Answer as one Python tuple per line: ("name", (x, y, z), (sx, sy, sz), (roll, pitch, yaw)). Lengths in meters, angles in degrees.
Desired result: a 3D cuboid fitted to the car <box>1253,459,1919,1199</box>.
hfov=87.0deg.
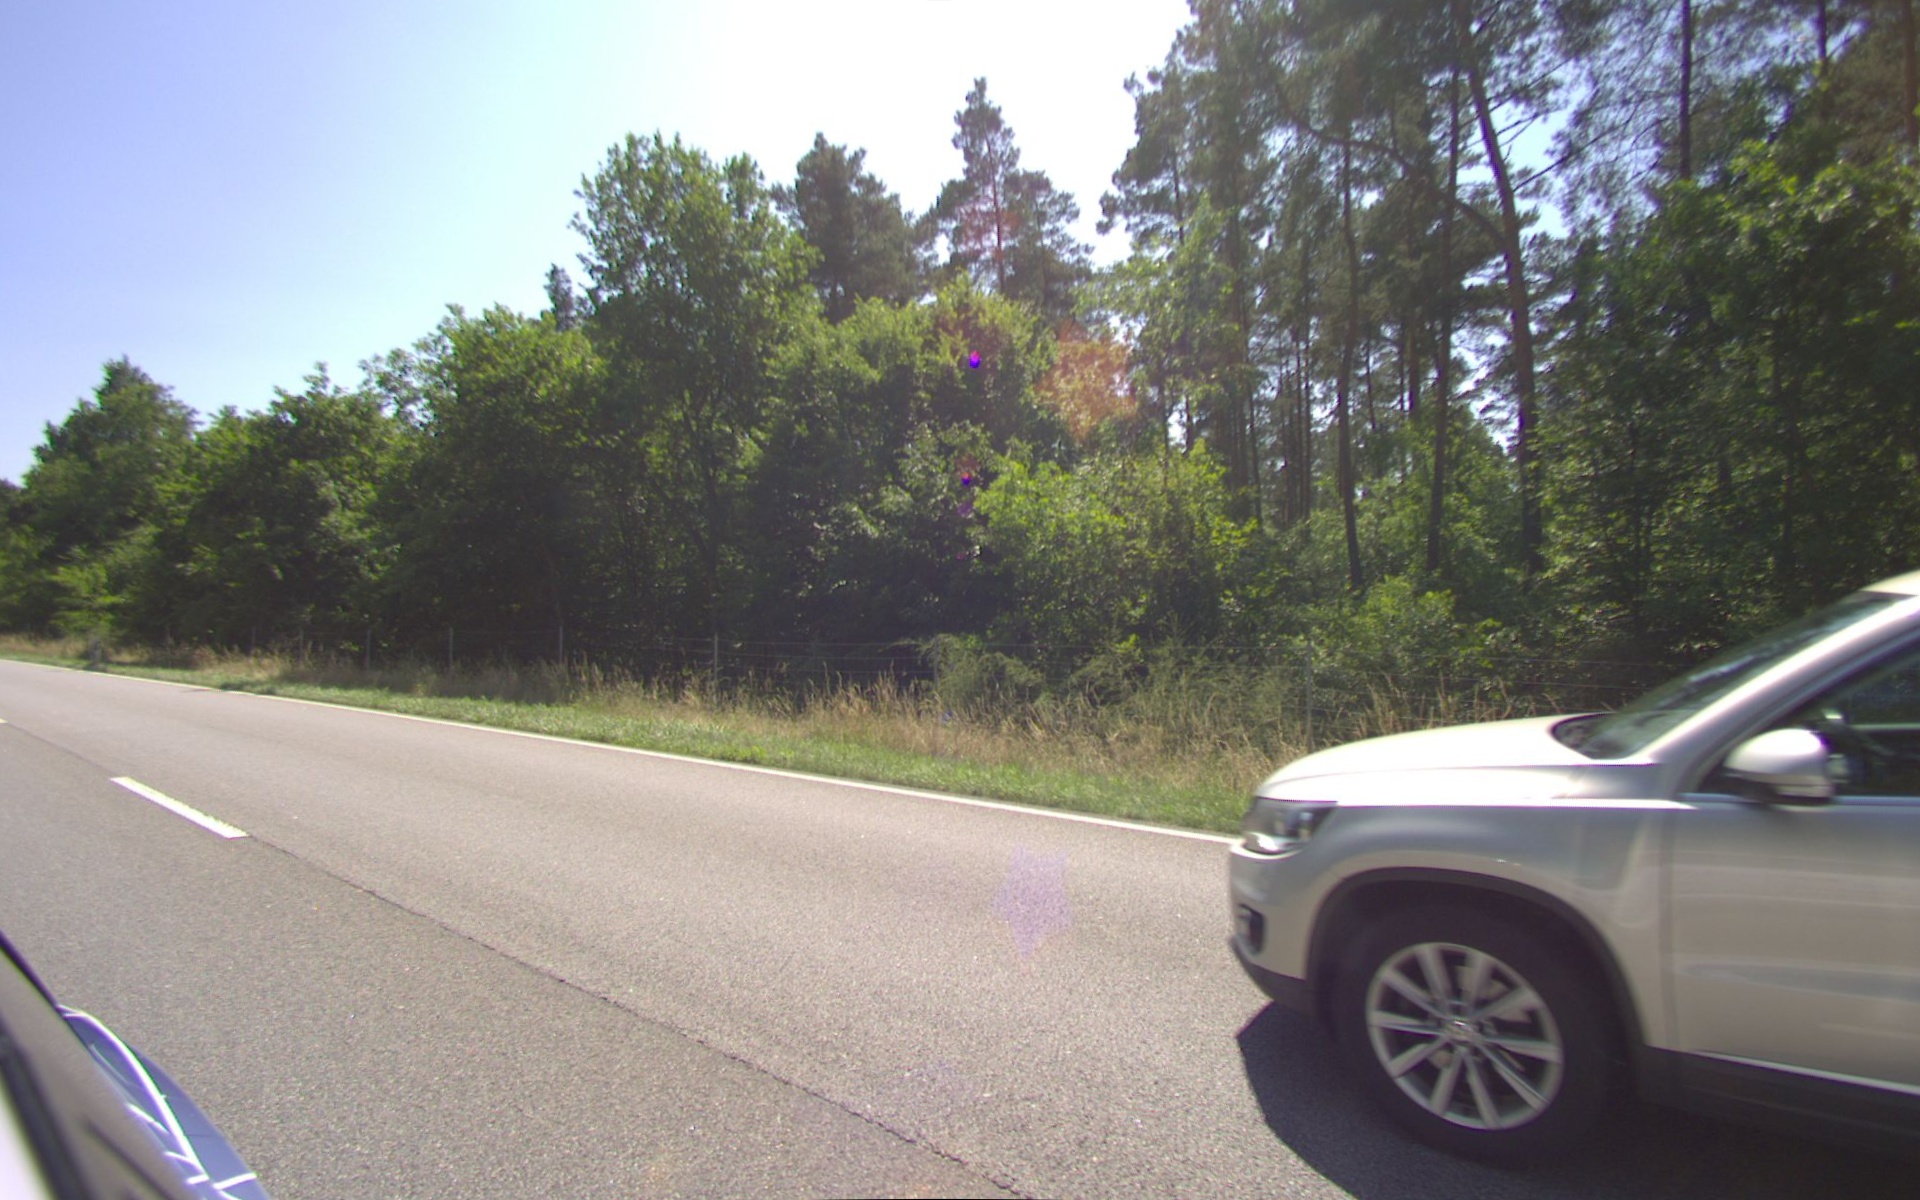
("car", (3.004, 0.531, 2.299), (4.090, 1.641, 1.843), (-2, -2, 41))
